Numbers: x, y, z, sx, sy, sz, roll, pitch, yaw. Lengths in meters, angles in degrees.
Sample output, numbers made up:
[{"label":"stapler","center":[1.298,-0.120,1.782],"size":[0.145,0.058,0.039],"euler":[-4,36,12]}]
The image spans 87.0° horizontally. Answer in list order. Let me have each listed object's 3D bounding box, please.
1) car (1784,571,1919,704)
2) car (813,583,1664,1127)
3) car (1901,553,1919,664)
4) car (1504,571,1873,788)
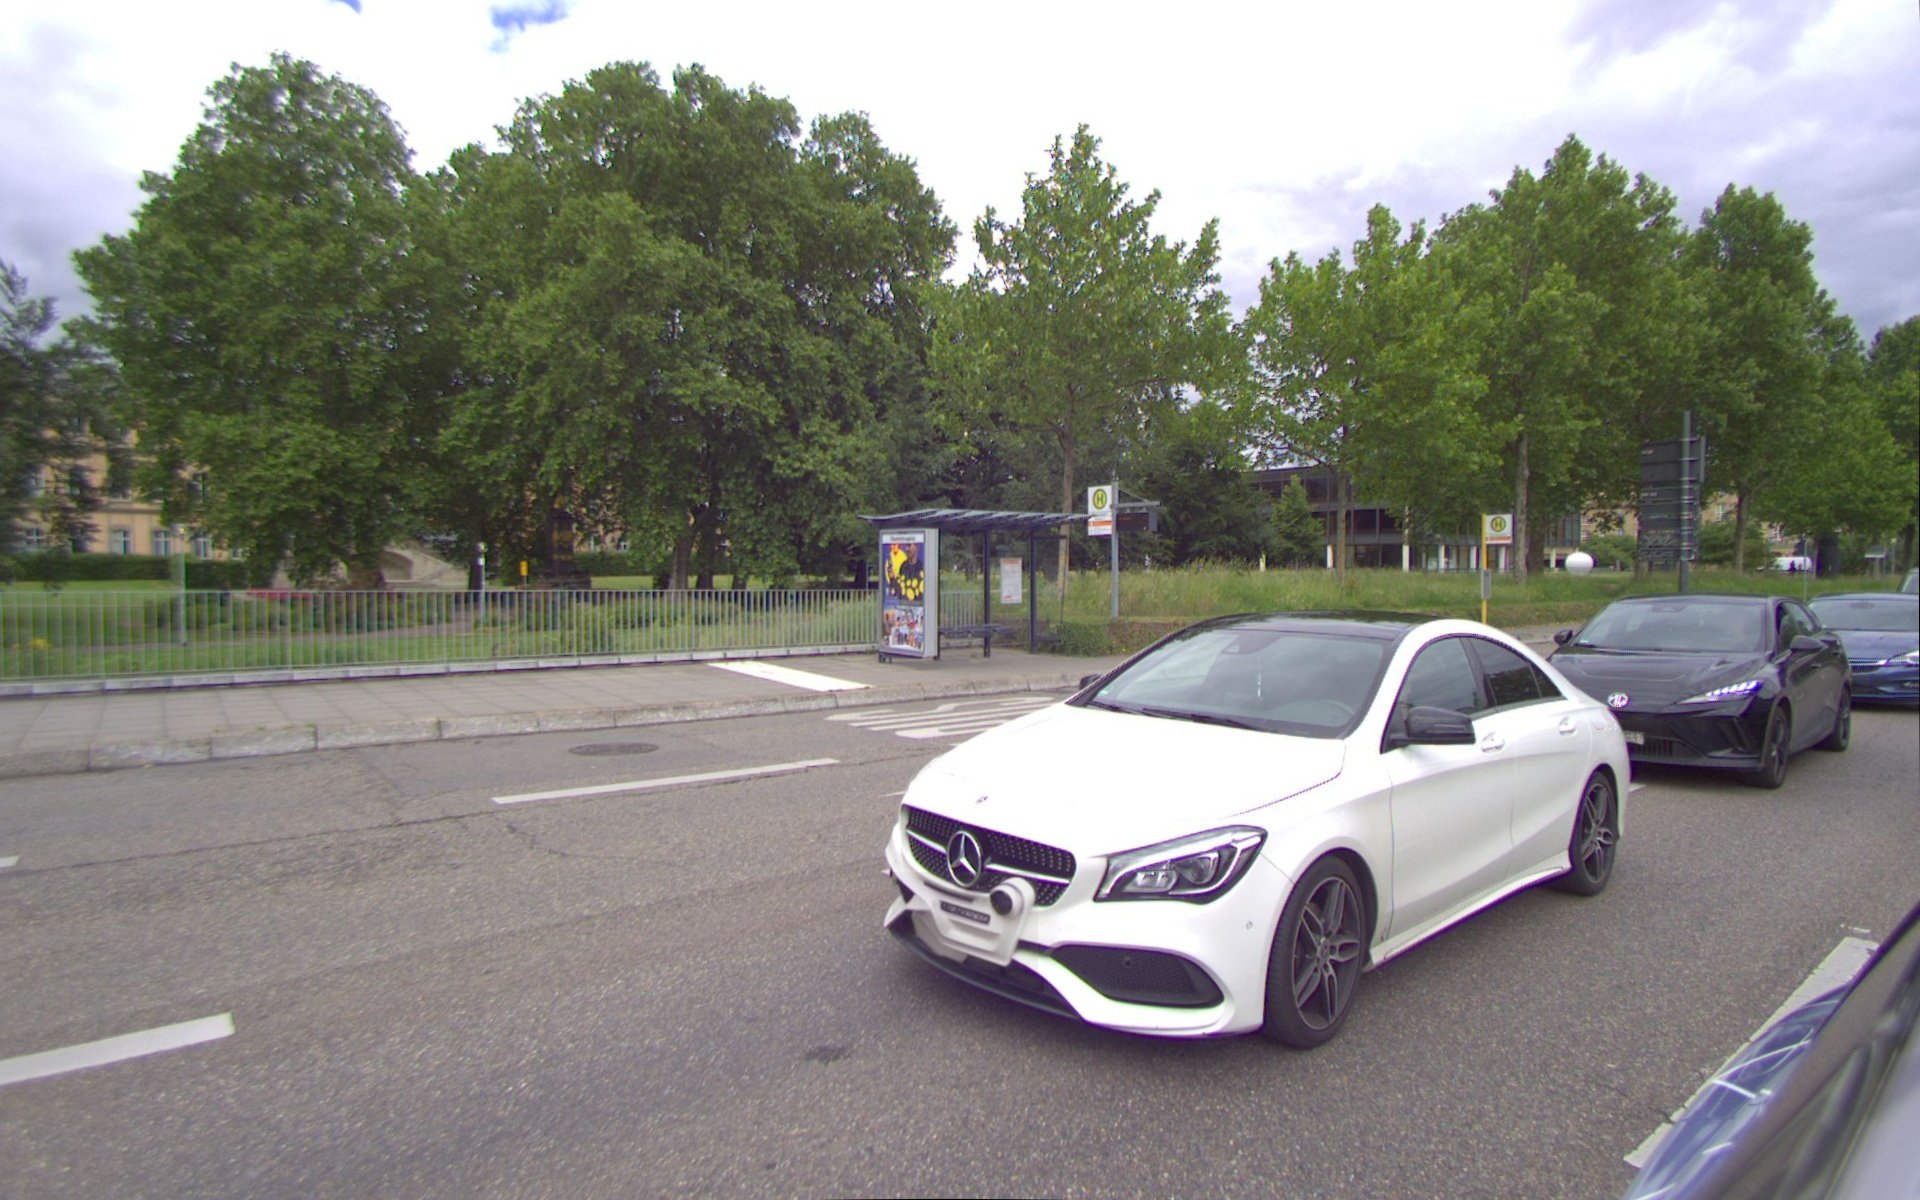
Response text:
[{"label":"car","center":[12.486,0.410,13.505],"size":[3.930,1.556,1.572],"euler":[-1,1,-39]},{"label":"car","center":[1.649,0.654,4.815],"size":[4.427,1.441,1.722],"euler":[-1,1,-40]},{"label":"car","center":[18.374,0.120,18.135],"size":[4.352,1.885,1.722],"euler":[-1,1,-40]},{"label":"car","center":[6.743,0.553,9.209],"size":[4.047,1.543,1.828],"euler":[0,0,-40]}]
